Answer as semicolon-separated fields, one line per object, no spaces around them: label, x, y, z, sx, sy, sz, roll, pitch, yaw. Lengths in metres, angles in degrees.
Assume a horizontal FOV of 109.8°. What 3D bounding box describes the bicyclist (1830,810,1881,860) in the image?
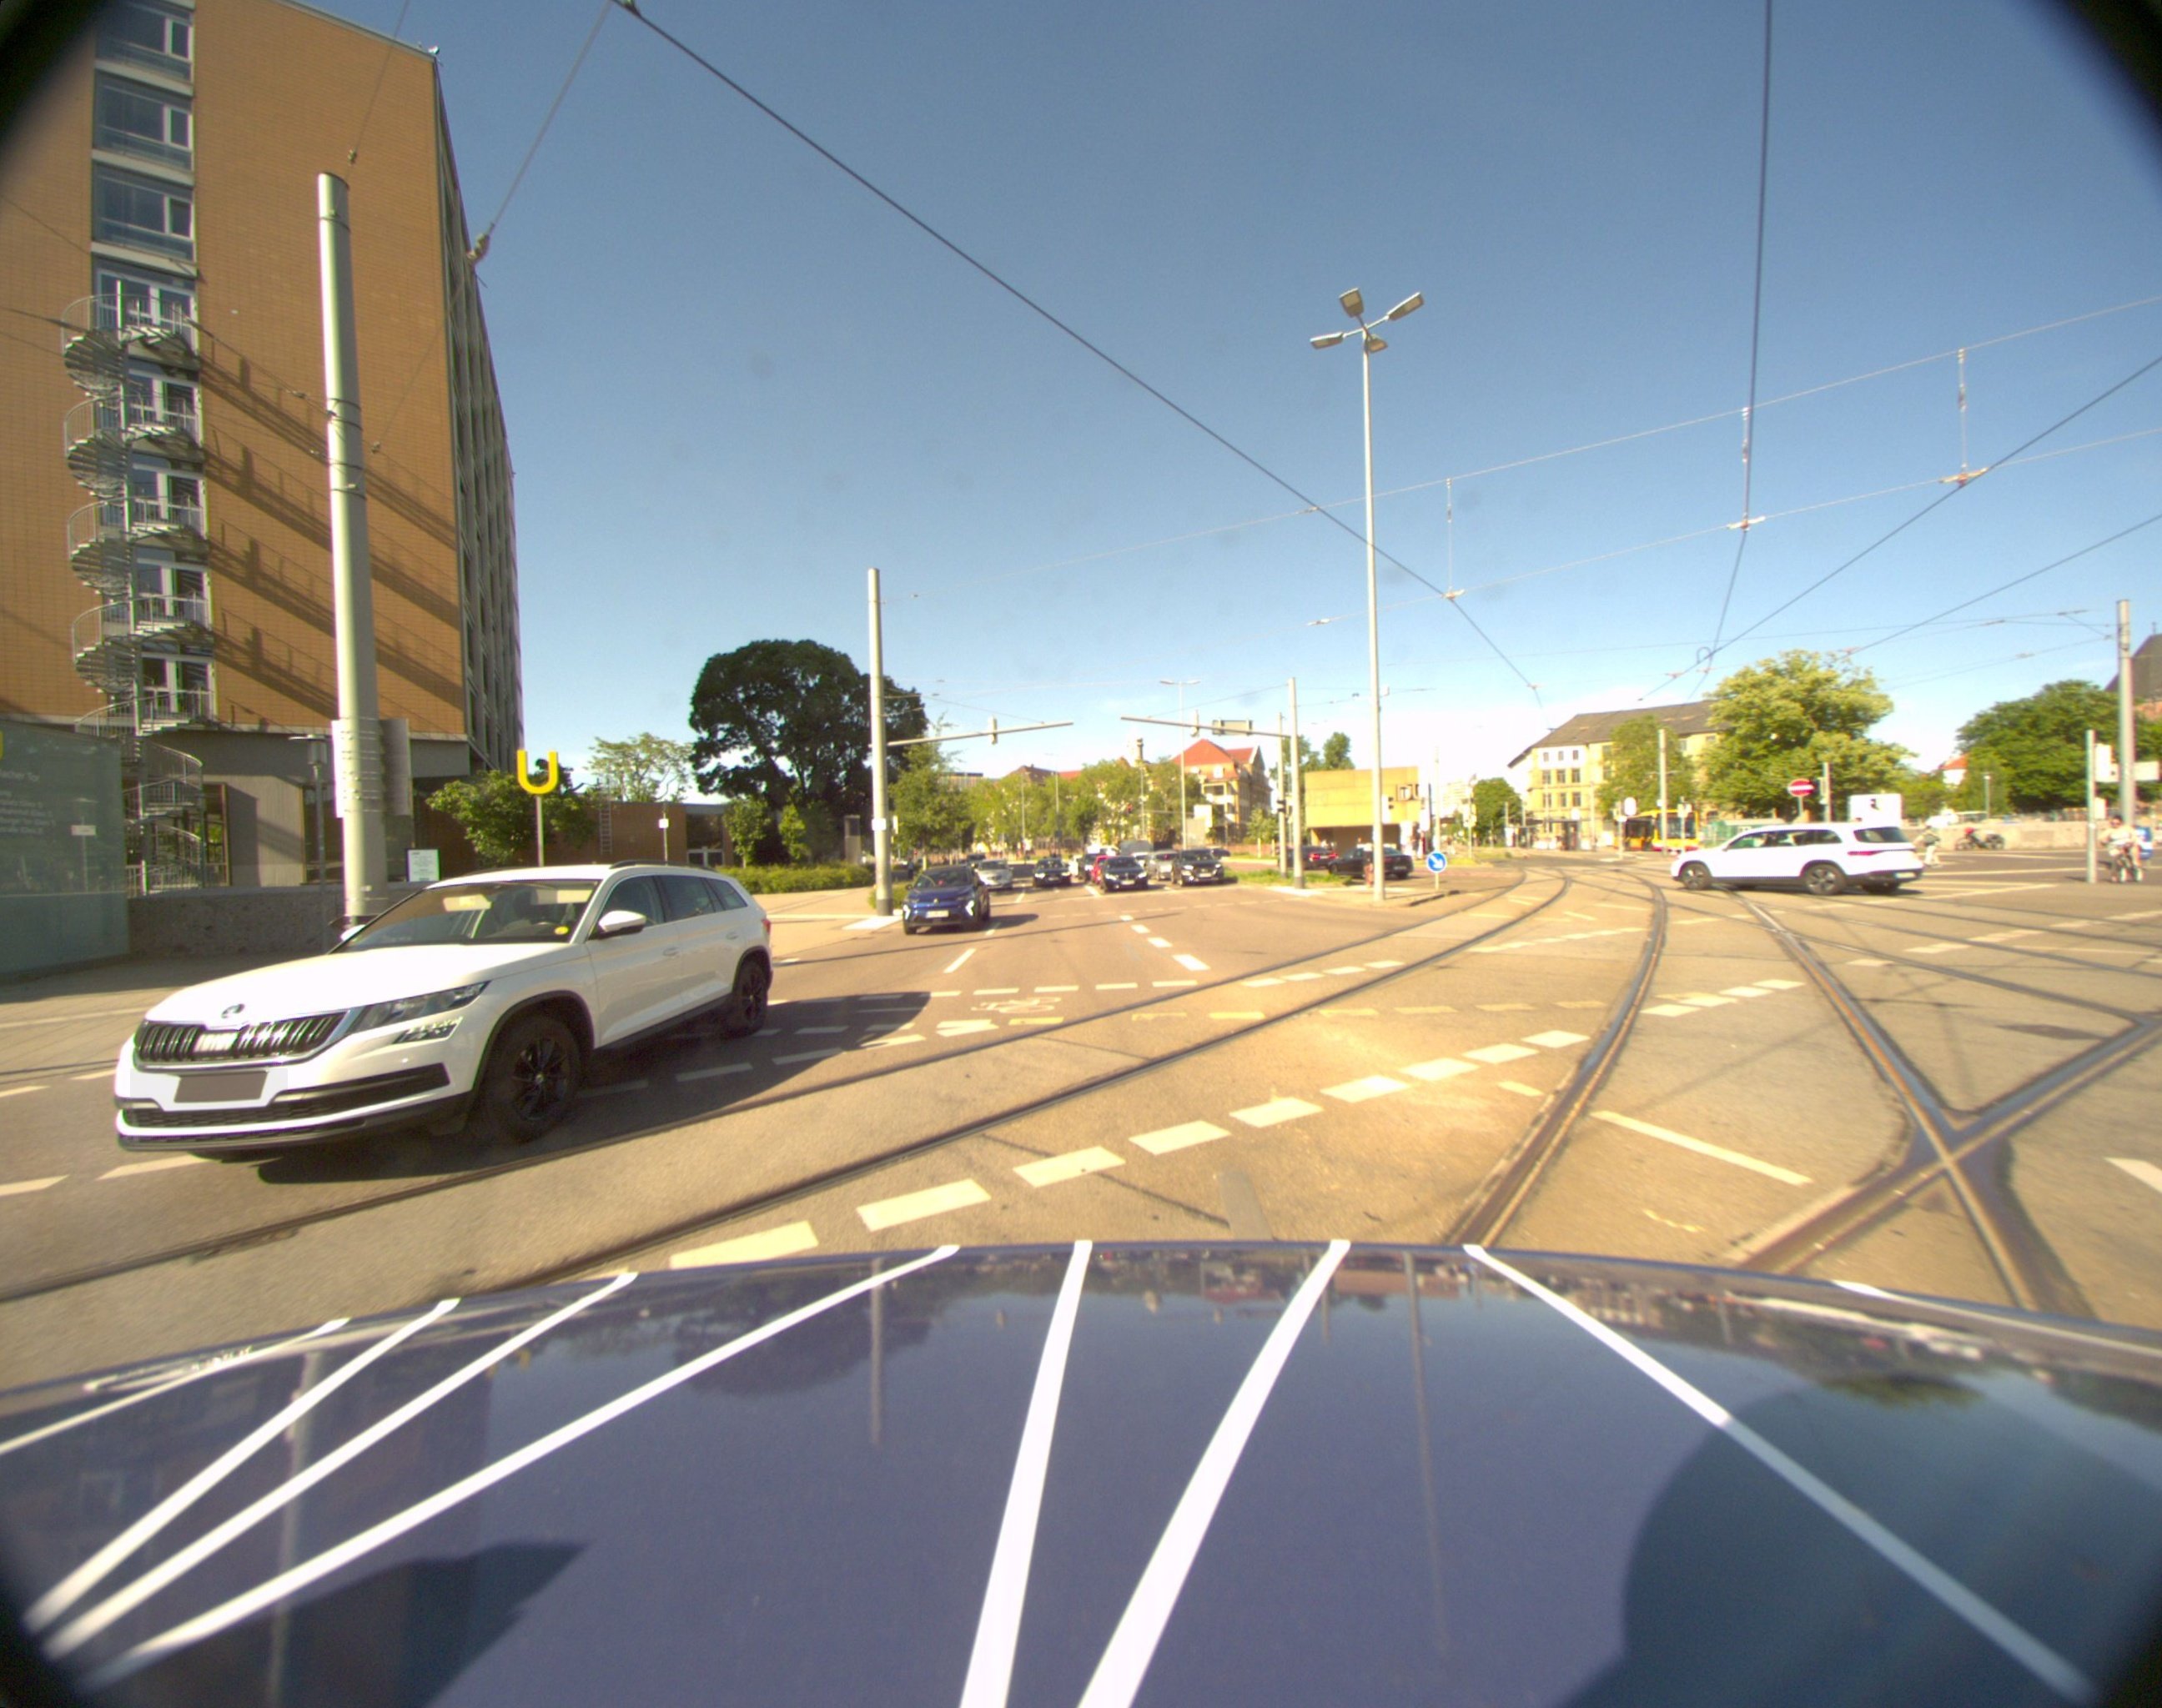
bicyclist;24.483;-0.598;24.029;0.996;1.540;0.595;-3;1;-4

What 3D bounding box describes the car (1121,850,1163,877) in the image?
car;3.729;0.539;47.266;1.825;1.450;4.658;-4;1;-5

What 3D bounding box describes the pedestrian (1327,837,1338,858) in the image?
pedestrian;21.481;-0.570;64.892;0.643;1.702;0.703;-3;1;38

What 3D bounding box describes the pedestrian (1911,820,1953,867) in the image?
pedestrian;29.701;-0.361;26.531;0.714;1.598;0.608;-4;1;-2

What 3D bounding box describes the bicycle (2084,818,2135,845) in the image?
bicycle;51.811;-1.137;38.289;1.498;1.263;0.366;-3;1;29

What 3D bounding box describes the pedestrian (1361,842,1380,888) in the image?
pedestrian;10.044;0.376;26.378;0.372;1.547;0.644;-4;1;6

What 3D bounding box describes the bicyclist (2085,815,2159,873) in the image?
bicyclist;24.679;-0.231;18.029;0.795;1.315;0.759;-2;1;-10

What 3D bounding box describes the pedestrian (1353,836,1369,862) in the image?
pedestrian;20.616;-0.389;55.978;0.857;1.818;0.703;-3;1;32

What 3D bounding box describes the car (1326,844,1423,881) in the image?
car;12.676;0.340;33.172;1.852;1.408;4.476;-3;0;-10

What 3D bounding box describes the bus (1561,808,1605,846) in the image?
bus;44.673;-2.314;67.809;2.136;3.028;8.572;-3;0;26

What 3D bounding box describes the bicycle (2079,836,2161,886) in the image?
bicycle;24.836;0.158;18.073;1.725;1.099;0.615;-2;1;-11

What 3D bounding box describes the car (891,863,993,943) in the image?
car;-3.383;1.128;19.204;1.886;1.620;4.011;-4;1;-2

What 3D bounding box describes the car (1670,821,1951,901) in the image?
car;17.272;0.138;18.375;2.004;1.631;4.560;-2;0;-12

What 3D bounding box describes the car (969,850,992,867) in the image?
car;-9.731;0.409;73.240;1.922;1.450;4.664;-4;1;-10

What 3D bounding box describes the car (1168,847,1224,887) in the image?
car;4.907;0.513;32.864;1.686;1.523;3.914;-4;1;-1

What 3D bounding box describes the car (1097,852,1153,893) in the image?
car;1.780;0.731;32.006;1.886;1.450;4.011;-4;1;-2

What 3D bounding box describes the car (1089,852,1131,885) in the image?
car;1.443;0.712;39.048;1.714;1.450;4.011;-4;1;-3

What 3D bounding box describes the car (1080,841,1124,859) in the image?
car;2.599;-0.511;94.559;5.232;1.793;2.410;-4;1;4

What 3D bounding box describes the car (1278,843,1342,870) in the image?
car;13.663;0.112;45.620;1.887;1.450;4.641;-3;1;-8

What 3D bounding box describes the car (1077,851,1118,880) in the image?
car;0.902;0.627;44.712;1.760;1.526;4.119;-4;1;-7

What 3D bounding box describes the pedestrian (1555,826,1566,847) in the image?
pedestrian;43.223;-1.570;68.531;0.690;1.851;0.730;-3;1;28

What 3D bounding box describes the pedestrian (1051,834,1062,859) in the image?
pedestrian;-2.488;-0.770;77.813;0.876;2.421;0.889;-4;1;-9

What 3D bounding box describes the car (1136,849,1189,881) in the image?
car;4.135;0.512;39.335;1.825;1.450;4.658;-4;1;-5

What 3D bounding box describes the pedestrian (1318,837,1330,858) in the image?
pedestrian;21.082;-0.555;65.861;0.748;1.702;0.703;-3;1;38

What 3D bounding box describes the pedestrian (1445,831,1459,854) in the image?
pedestrian;31.202;-0.932;63.885;0.857;1.870;0.694;-3;1;32

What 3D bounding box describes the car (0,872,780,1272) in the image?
car;-4.040;1.026;5.608;1.869;1.635;4.397;-4;-1;-1

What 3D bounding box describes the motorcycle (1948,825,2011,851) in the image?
motorcycle;47.352;-0.838;40.058;2.101;1.246;0.535;-3;1;24

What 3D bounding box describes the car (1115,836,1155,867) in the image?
car;5.051;-0.211;71.514;2.244;2.665;5.300;-4;1;-12

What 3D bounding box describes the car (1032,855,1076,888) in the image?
car;-1.452;0.867;39.308;1.922;1.450;3.863;-4;1;-6

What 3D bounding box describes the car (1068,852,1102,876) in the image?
car;0.223;0.672;52.299;1.760;1.447;4.119;-4;1;-7

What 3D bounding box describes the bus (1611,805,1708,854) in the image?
bus;42.789;-1.965;56.684;2.844;3.104;11.833;-3;2;23

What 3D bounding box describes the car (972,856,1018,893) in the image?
car;-4.274;0.971;38.297;1.886;1.620;4.011;-4;1;-2
